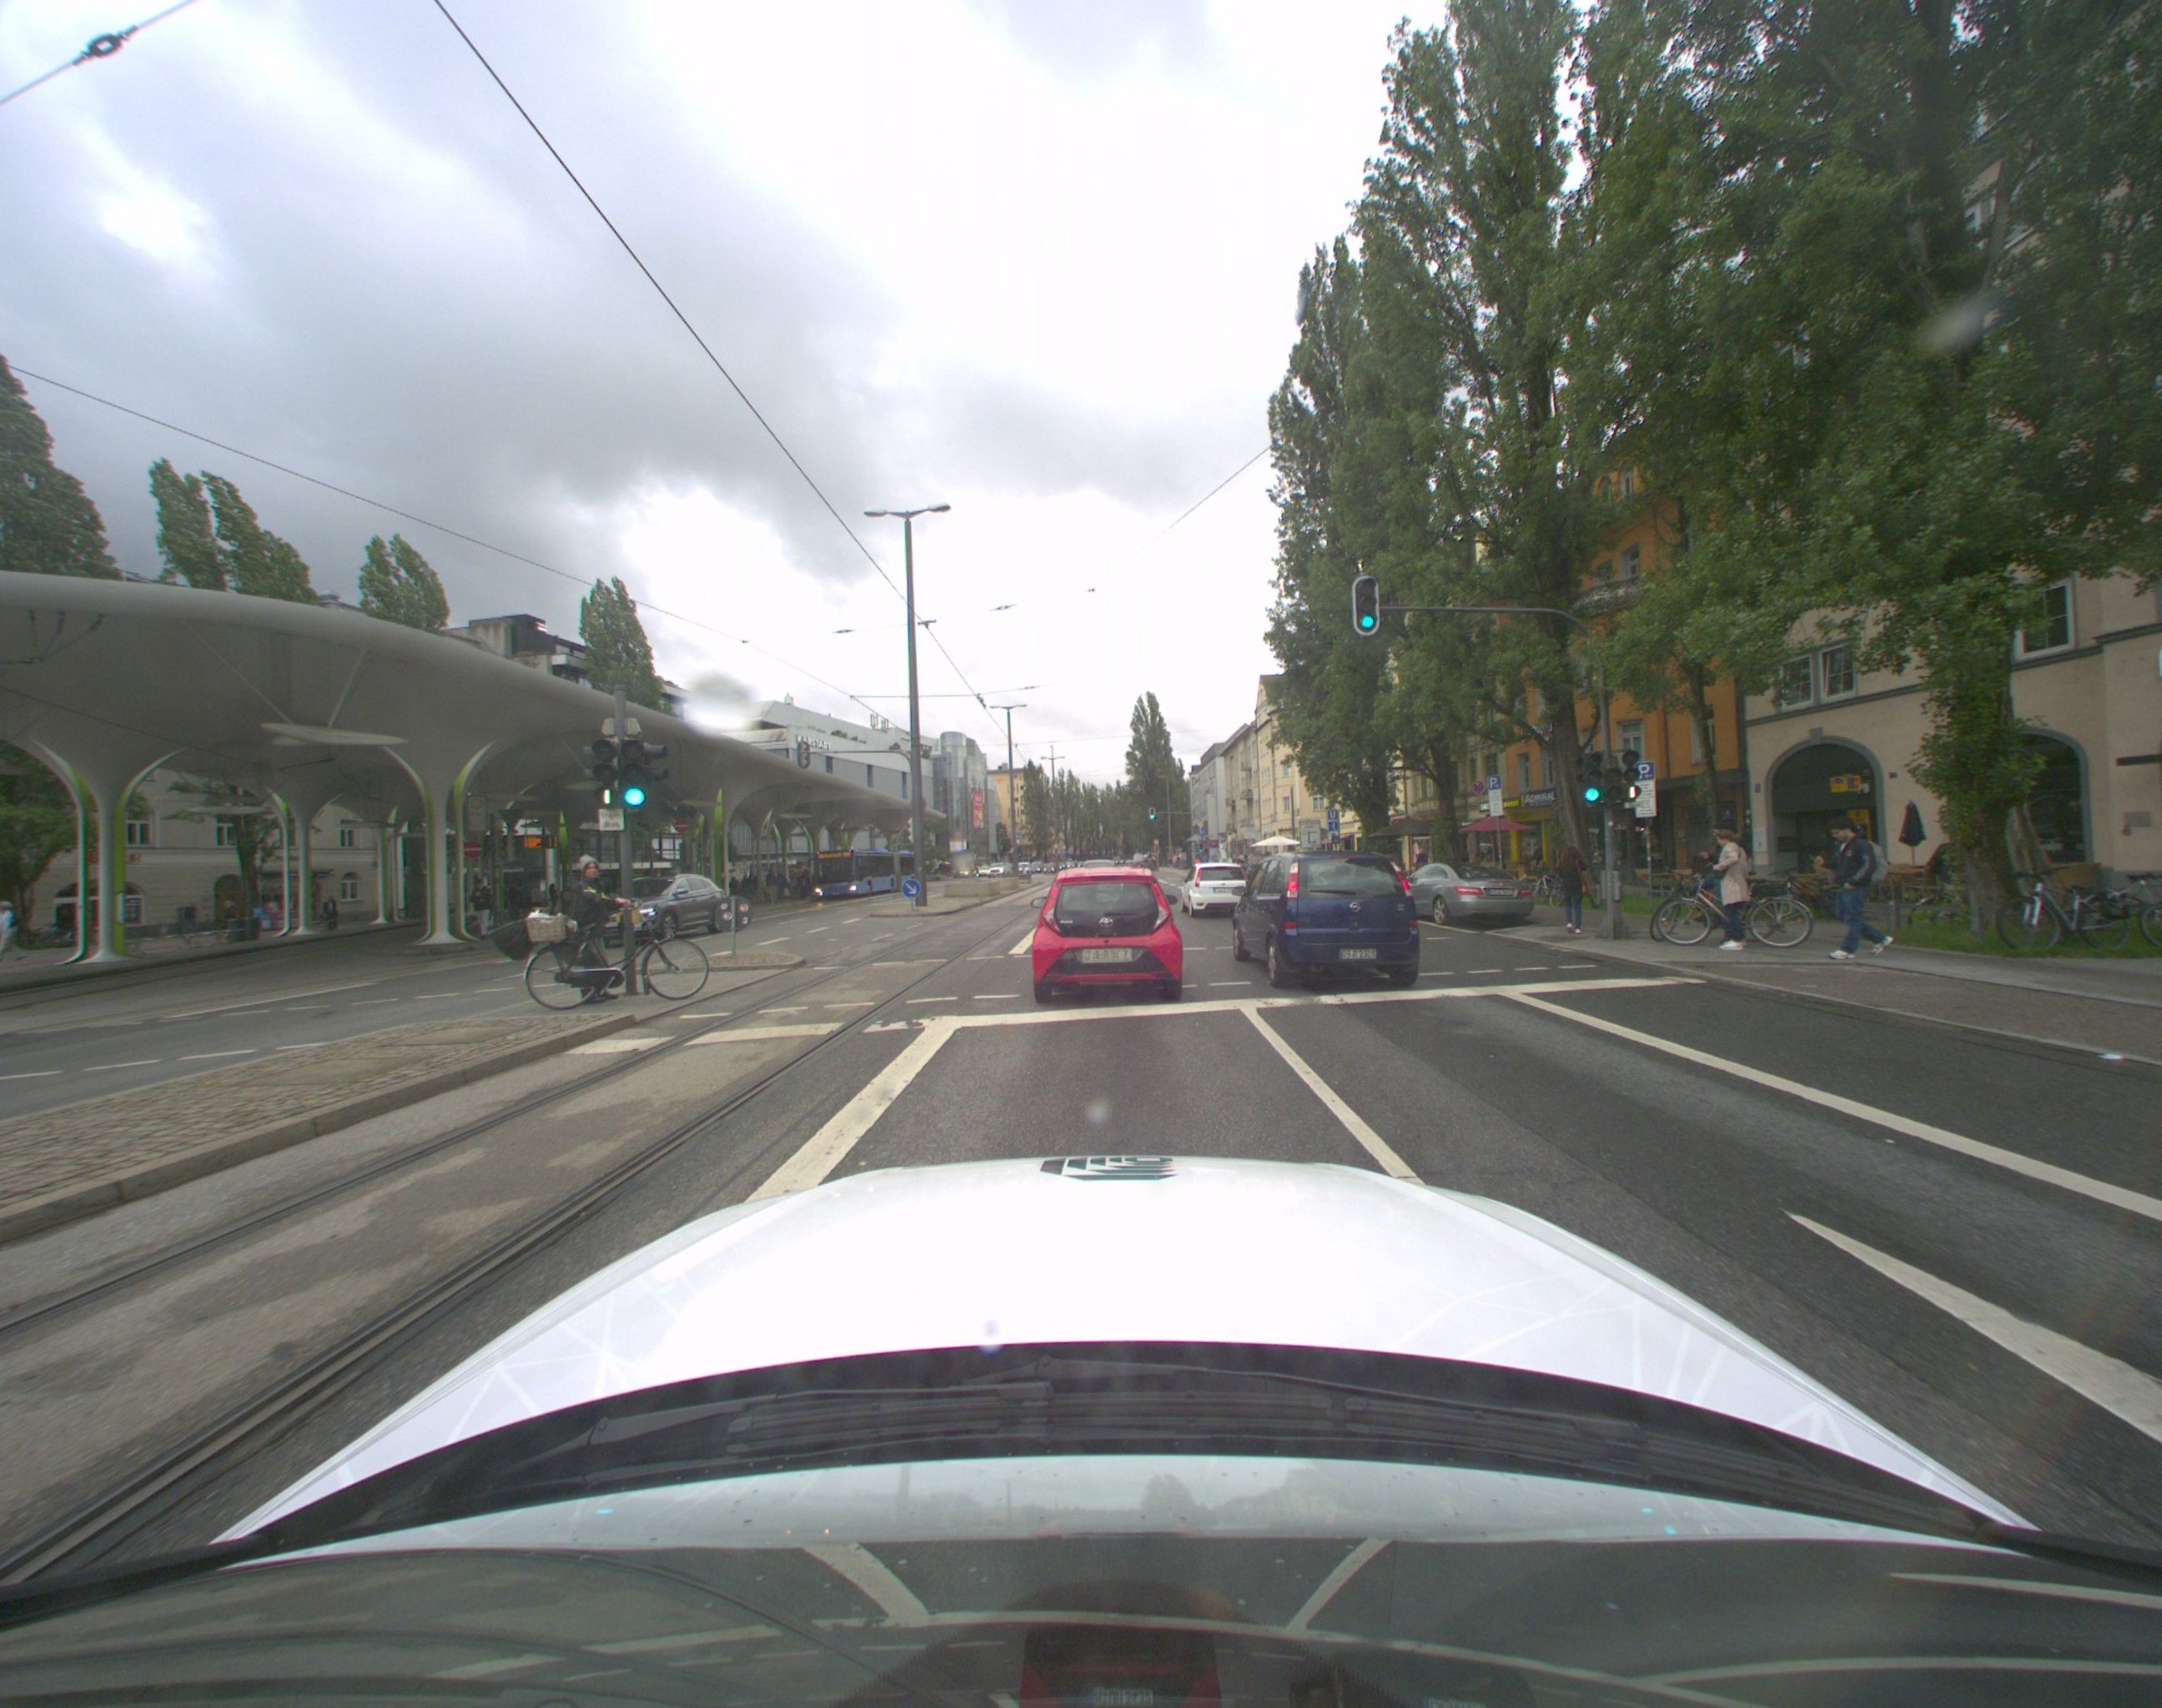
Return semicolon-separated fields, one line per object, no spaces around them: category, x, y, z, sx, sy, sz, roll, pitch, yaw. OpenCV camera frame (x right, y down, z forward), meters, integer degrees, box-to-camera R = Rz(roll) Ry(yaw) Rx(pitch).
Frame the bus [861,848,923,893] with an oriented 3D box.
bus;-14.142;1.183;61.557;2.651;3.007;7.514;-4;-1;1

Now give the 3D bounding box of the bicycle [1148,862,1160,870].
bicycle;9.243;1.526;103.063;0.502;1.028;1.582;-2;-1;-41

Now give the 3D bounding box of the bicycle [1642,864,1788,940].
bicycle;9.740;0.748;12.578;1.722;1.102;0.361;-3;-1;36

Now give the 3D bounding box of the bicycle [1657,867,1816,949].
bicycle;9.472;0.764;11.829;0.361;1.102;1.724;-2;-1;-43

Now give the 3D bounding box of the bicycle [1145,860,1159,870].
bicycle;9.347;1.459;107.465;1.782;1.158;0.490;-3;-1;27

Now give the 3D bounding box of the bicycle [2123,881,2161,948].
bicycle;14.669;0.776;10.661;1.567;0.835;0.392;-1;-1;-2

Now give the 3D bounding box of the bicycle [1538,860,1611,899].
bicycle;14.906;0.762;24.612;1.882;1.113;0.458;-2;-1;-2

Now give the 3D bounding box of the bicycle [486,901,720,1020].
bicycle;-5.372;1.158;9.290;2.238;1.150;0.501;-1;-2;-30

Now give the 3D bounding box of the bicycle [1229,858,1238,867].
bicycle;17.630;0.988;94.109;0.493;1.059;1.864;-2;0;-3

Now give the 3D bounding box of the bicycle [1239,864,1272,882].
bicycle;9.785;1.047;45.746;1.818;0.995;0.327;-1;1;38

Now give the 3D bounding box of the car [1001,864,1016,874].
car;-10.597;2.196;118.961;1.667;1.378;4.613;-2;0;0

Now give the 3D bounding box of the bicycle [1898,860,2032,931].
bicycle;13.607;0.634;12.555;1.565;1.050;0.392;-1;-1;2

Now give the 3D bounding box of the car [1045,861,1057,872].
car;-4.190;1.803;115.014;1.540;1.445;3.539;-3;0;0

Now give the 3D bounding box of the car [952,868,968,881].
car;-17.321;2.900;116.248;1.994;1.536;4.398;-3;0;-11

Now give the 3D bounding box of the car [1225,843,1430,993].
car;3.007;0.711;10.693;1.696;1.589;3.558;-2;0;2

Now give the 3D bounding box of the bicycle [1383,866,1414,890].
bicycle;12.483;0.923;32.049;0.455;0.892;1.893;-2;-1;1

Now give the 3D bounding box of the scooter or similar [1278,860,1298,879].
scooter or similar;12.016;0.893;47.342;0.773;1.075;1.256;-2;-1;0

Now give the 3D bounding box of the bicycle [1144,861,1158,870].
bicycle;9.302;1.486;108.127;1.781;1.158;0.490;-3;-1;31

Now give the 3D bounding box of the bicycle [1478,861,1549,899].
bicycle;13.043;0.771;24.601;1.882;1.054;0.458;-2;-1;-2

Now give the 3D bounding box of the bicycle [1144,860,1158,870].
bicycle;9.216;1.453;106.658;1.781;1.158;0.551;-3;-1;39

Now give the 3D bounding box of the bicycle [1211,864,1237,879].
bicycle;9.796;1.213;55.863;1.818;0.996;0.350;-4;-1;41

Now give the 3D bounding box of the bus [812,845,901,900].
bus;-14.194;1.122;52.529;2.652;3.007;10.513;-4;0;0

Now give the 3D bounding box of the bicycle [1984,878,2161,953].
bicycle;12.889;0.786;10.567;1.826;0.917;0.392;-1;-1;2

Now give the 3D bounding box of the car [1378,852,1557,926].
car;8.834;0.734;19.144;1.987;1.440;4.528;-3;0;0

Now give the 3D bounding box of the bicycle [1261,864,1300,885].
bicycle;9.503;0.971;38.886;1.818;0.995;0.378;-1;1;39

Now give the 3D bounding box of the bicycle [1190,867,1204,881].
bicycle;10.922;1.837;76.689;0.613;1.265;2.512;-3;0;-8

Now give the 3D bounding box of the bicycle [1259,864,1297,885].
bicycle;9.583;0.976;39.632;1.818;0.995;0.378;-1;1;39

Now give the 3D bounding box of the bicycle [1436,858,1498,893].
bicycle;13.826;0.778;29.214;1.879;1.174;0.582;-2;-1;3

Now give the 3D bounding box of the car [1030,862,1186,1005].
car;0.354;0.831;9.964;1.598;1.461;3.132;0;0;3

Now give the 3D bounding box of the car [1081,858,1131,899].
car;1.088;1.021;35.438;1.986;1.618;4.001;-3;0;1

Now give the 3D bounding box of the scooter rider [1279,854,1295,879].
scooter rider;11.968;0.734;47.350;0.698;1.389;0.643;-2;-1;0

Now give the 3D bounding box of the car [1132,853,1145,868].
car;10.621;1.199;150.293;2.098;2.718;4.806;-3;0;2

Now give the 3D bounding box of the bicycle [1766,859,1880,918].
bicycle;14.763;0.678;16.223;1.790;1.109;0.447;-2;-1;3

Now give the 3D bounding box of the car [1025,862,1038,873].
car;-7.407;2.022;122.713;1.672;1.395;4.232;-3;0;0

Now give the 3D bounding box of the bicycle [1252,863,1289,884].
bicycle;9.556;0.986;41.053;1.818;0.995;0.327;-1;1;39

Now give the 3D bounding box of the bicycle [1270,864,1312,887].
bicycle;9.507;0.958;36.888;1.818;0.995;0.378;-1;1;40

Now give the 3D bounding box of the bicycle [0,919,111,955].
bicycle;-45.892;3.681;36.486;0.831;1.314;2.959;-3;-1;25

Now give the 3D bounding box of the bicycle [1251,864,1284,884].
bicycle;9.751;1.031;42.716;0.327;0.995;1.820;-2;1;-41

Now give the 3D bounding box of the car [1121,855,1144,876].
car;4.967;1.102;78.434;1.986;1.838;4.001;-3;0;2

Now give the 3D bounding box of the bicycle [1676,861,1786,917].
bicycle;12.952;0.688;16.243;1.790;1.109;0.447;0;-1;3

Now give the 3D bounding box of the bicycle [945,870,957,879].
bicycle;-17.126;2.652;107.404;1.566;1.112;0.374;-2;-1;5

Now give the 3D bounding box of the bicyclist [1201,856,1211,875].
bicyclist;12.443;1.172;81.072;0.760;1.870;1.133;-3;0;1

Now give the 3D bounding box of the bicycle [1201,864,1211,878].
bicycle;12.456;1.684;81.048;0.611;1.265;2.520;-3;0;1

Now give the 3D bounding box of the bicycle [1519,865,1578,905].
bicycle;12.134;0.787;21.182;0.587;0.965;1.654;-2;-1;2

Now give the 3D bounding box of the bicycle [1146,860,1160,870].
bicycle;9.294;1.446;104.579;0.562;1.198;1.782;-2;-1;-45

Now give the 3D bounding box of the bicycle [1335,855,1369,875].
bicycle;14.619;0.592;43.987;1.719;1.045;0.387;-2;1;-5

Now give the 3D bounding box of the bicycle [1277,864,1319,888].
bicycle;9.442;0.948;35.458;0.377;0.995;1.819;-2;1;-43

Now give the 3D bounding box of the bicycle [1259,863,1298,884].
bicycle;9.762;0.976;40.305;1.819;0.995;0.377;-1;1;25

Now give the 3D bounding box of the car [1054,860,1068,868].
car;-3.723;1.850;151.163;1.984;1.412;4.174;2;0;6

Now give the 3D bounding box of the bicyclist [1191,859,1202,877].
bicyclist;10.885;1.311;76.822;0.613;1.657;1.247;-3;0;-8
